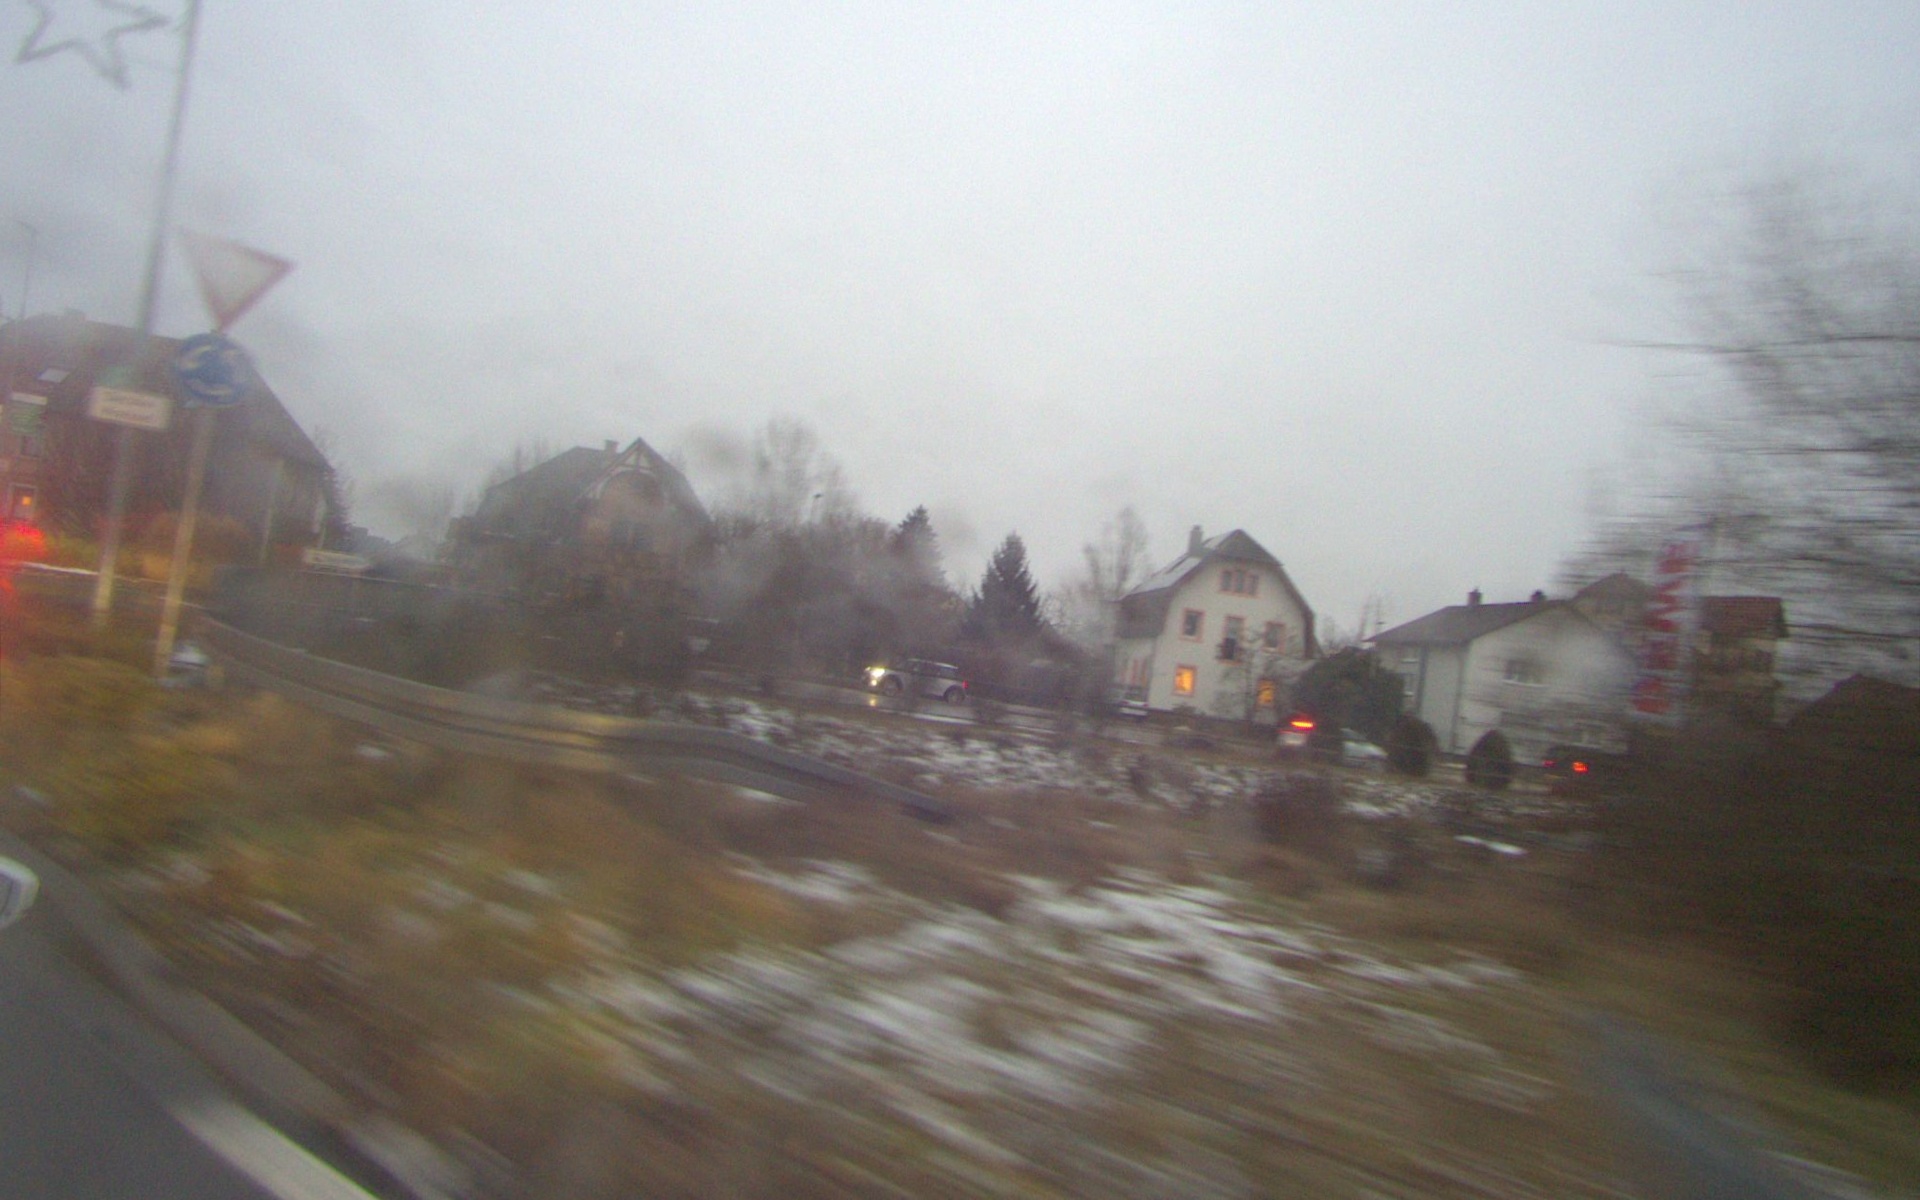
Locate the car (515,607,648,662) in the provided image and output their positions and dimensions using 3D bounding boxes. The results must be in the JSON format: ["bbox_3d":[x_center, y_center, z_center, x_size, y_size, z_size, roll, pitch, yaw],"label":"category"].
[{"bbox_3d":[-17.690,1.600,47.242,5.239,1.887,2.367,7,-2,-7],"label":"car"}]

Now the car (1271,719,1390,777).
[{"bbox_3d":[13.900,5.551,37.780,3.799,1.507,1.757,10,-5,-17],"label":"car"}]

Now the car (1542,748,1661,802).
[{"bbox_3d":[26.524,7.226,41.677,3.647,1.507,1.919,9,-4,-6],"label":"car"}]

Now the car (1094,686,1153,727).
[{"bbox_3d":[8.173,5.319,50.616,1.881,1.503,3.999,7,-2,-5],"label":"car"}]

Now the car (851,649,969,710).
[{"bbox_3d":[-1.764,2.782,35.287,3.662,1.507,1.657,10,-5,-20],"label":"car"}]
